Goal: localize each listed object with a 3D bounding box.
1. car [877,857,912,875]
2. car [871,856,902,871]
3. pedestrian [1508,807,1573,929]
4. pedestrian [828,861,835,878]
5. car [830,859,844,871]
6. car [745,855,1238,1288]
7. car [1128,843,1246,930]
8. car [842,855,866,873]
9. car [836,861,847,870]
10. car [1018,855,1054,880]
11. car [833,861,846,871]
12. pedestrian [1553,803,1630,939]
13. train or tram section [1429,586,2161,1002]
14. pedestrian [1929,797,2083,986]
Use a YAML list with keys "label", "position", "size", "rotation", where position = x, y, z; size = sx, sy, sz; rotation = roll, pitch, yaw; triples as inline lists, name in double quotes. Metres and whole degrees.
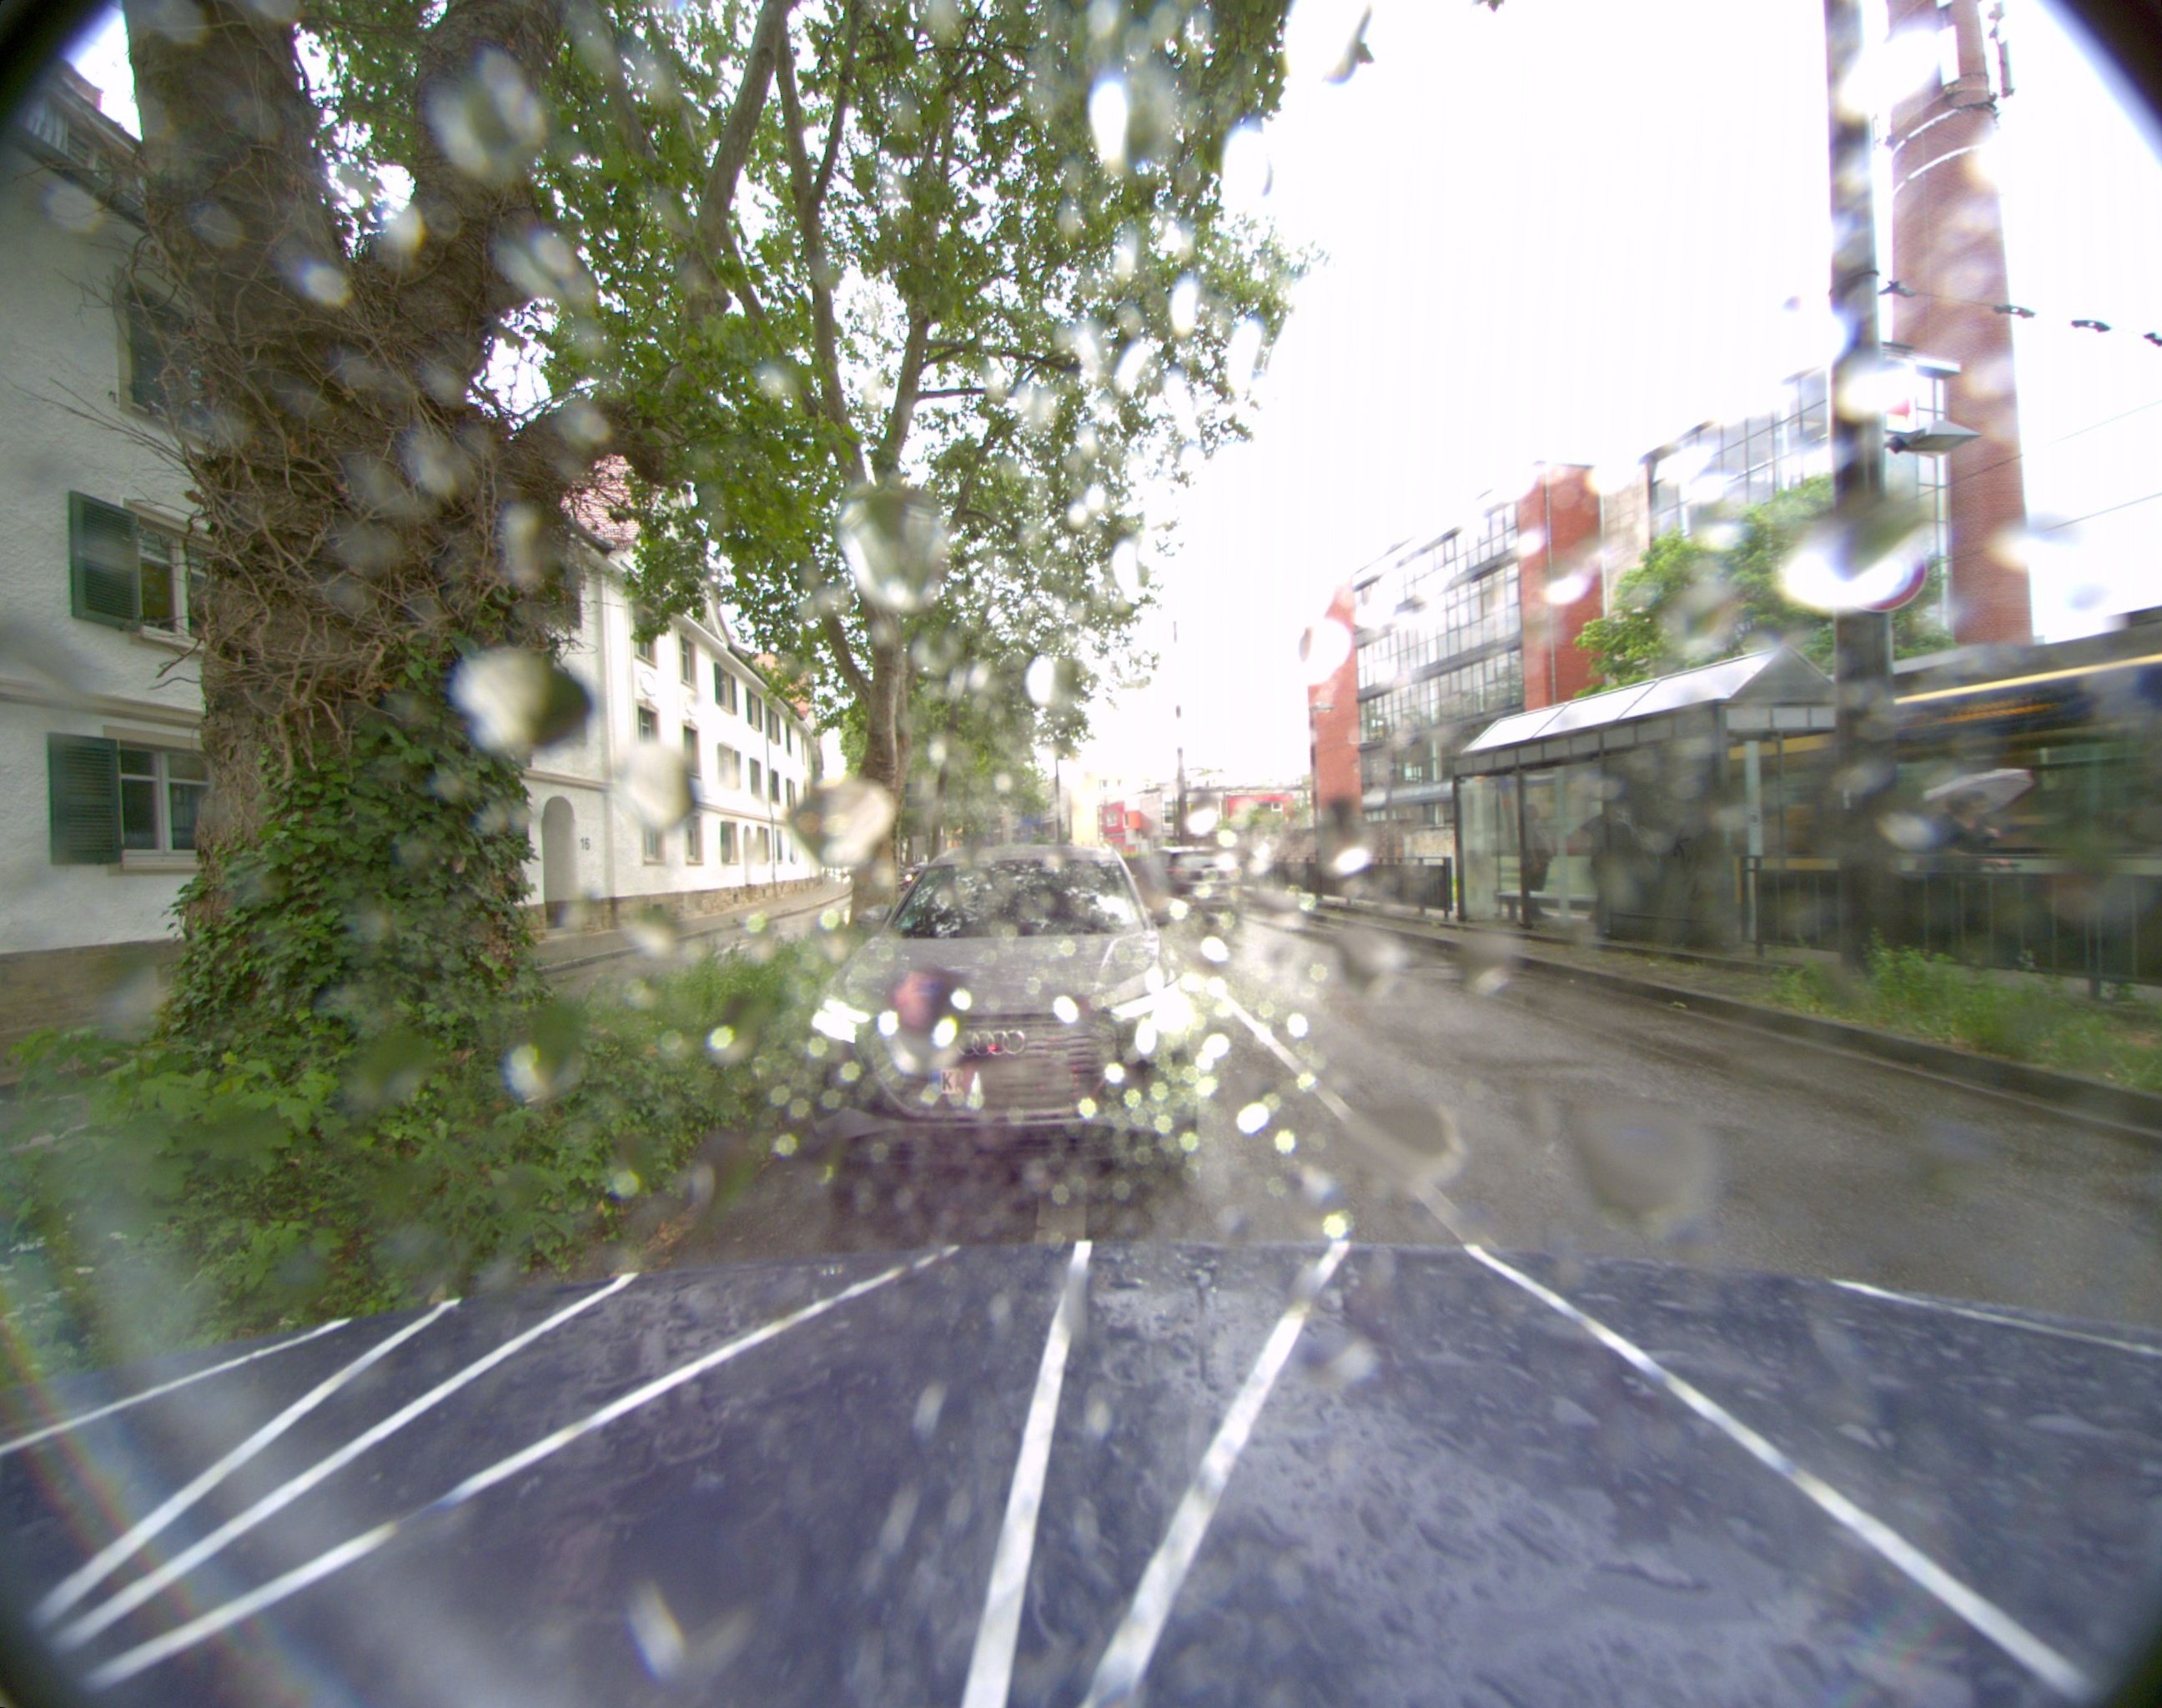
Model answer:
- label: "car"
  position: [-23.212, 1.516, 94.656]
  size: [4.002, 2.002, 1.997]
  rotation: [-2, 0, -17]
- label: "car"
  position: [-26.680, 1.303, 104.358]
  size: [4.002, 2.002, 1.997]
  rotation: [-2, 0, -17]
- label: "pedestrian"
  position: [6.760, 0.203, 11.196]
  size: [0.629, 1.738, 0.514]
  rotation: [-2, 1, 9]
- label: "pedestrian"
  position: [-27.249, 1.725, 82.933]
  size: [0.674, 1.811, 0.678]
  rotation: [-3, 1, -18]
- label: "car"
  position: [-42.756, 1.918, 132.985]
  size: [2.002, 2.001, 3.993]
  rotation: [3, -1, -20]
- label: "car"
  position: [-0.412, 0.873, 5.117]
  size: [1.917, 1.632, 4.106]
  rotation: [-2, 0, -2]
- label: "car"
  position: [2.287, 0.655, 17.624]
  size: [1.808, 1.673, 4.602]
  rotation: [-3, 0, -3]
- label: "car"
  position: [-29.955, 1.302, 100.173]
  size: [2.199, 2.250, 5.401]
  rotation: [-3, 0, -24]
- label: "car"
  position: [-54.456, 2.586, 172.785]
  size: [2.002, 2.001, 3.993]
  rotation: [3, -1, -20]
- label: "car"
  position: [-3.089, 0.891, 51.631]
  size: [1.757, 1.582, 4.230]
  rotation: [-3, 0, -12]
- label: "car"
  position: [-37.893, 1.896, 119.307]
  size: [1.834, 1.517, 3.993]
  rotation: [-3, 1, -19]
- label: "pedestrian"
  position: [6.733, 0.218, 10.042]
  size: [0.629, 1.738, 0.564]
  rotation: [-2, 1, 9]
- label: "train or tram section"
  position: [10.210, -0.555, 9.047]
  size: [2.869, 3.525, 15.360]
  rotation: [-2, 0, -9]
- label: "pedestrian"
  position: [8.152, 0.325, 6.714]
  size: [0.798, 1.588, 0.506]
  rotation: [0, -2, -10]
